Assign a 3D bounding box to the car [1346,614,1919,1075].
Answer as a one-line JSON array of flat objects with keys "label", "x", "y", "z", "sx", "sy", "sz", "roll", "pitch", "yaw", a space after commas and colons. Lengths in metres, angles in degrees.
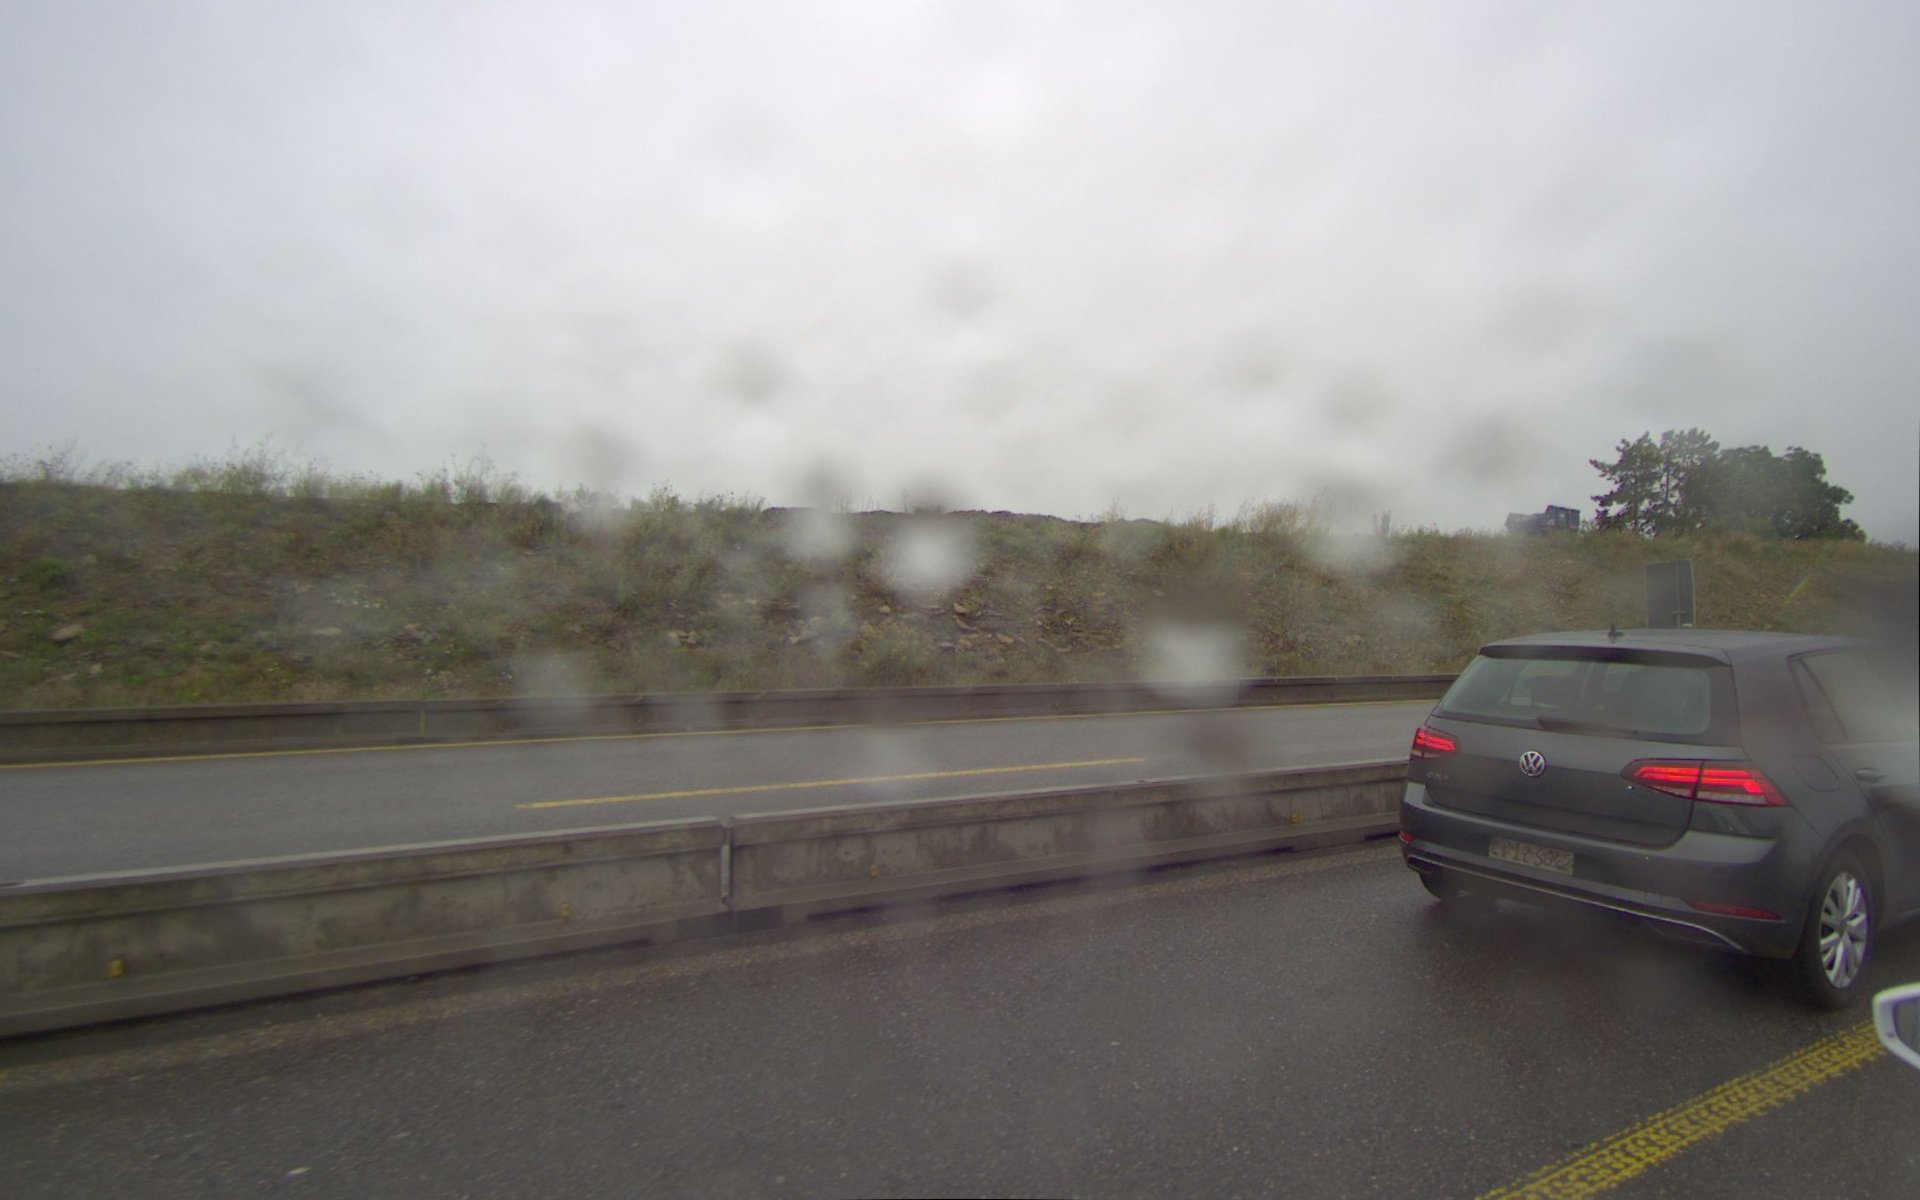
[{"label": "car", "x": 4.076, "y": 0.879, "z": 5.134, "sx": 4.317, "sy": 1.526, "sz": 1.607, "roll": 2, "pitch": -2, "yaw": -30}]
